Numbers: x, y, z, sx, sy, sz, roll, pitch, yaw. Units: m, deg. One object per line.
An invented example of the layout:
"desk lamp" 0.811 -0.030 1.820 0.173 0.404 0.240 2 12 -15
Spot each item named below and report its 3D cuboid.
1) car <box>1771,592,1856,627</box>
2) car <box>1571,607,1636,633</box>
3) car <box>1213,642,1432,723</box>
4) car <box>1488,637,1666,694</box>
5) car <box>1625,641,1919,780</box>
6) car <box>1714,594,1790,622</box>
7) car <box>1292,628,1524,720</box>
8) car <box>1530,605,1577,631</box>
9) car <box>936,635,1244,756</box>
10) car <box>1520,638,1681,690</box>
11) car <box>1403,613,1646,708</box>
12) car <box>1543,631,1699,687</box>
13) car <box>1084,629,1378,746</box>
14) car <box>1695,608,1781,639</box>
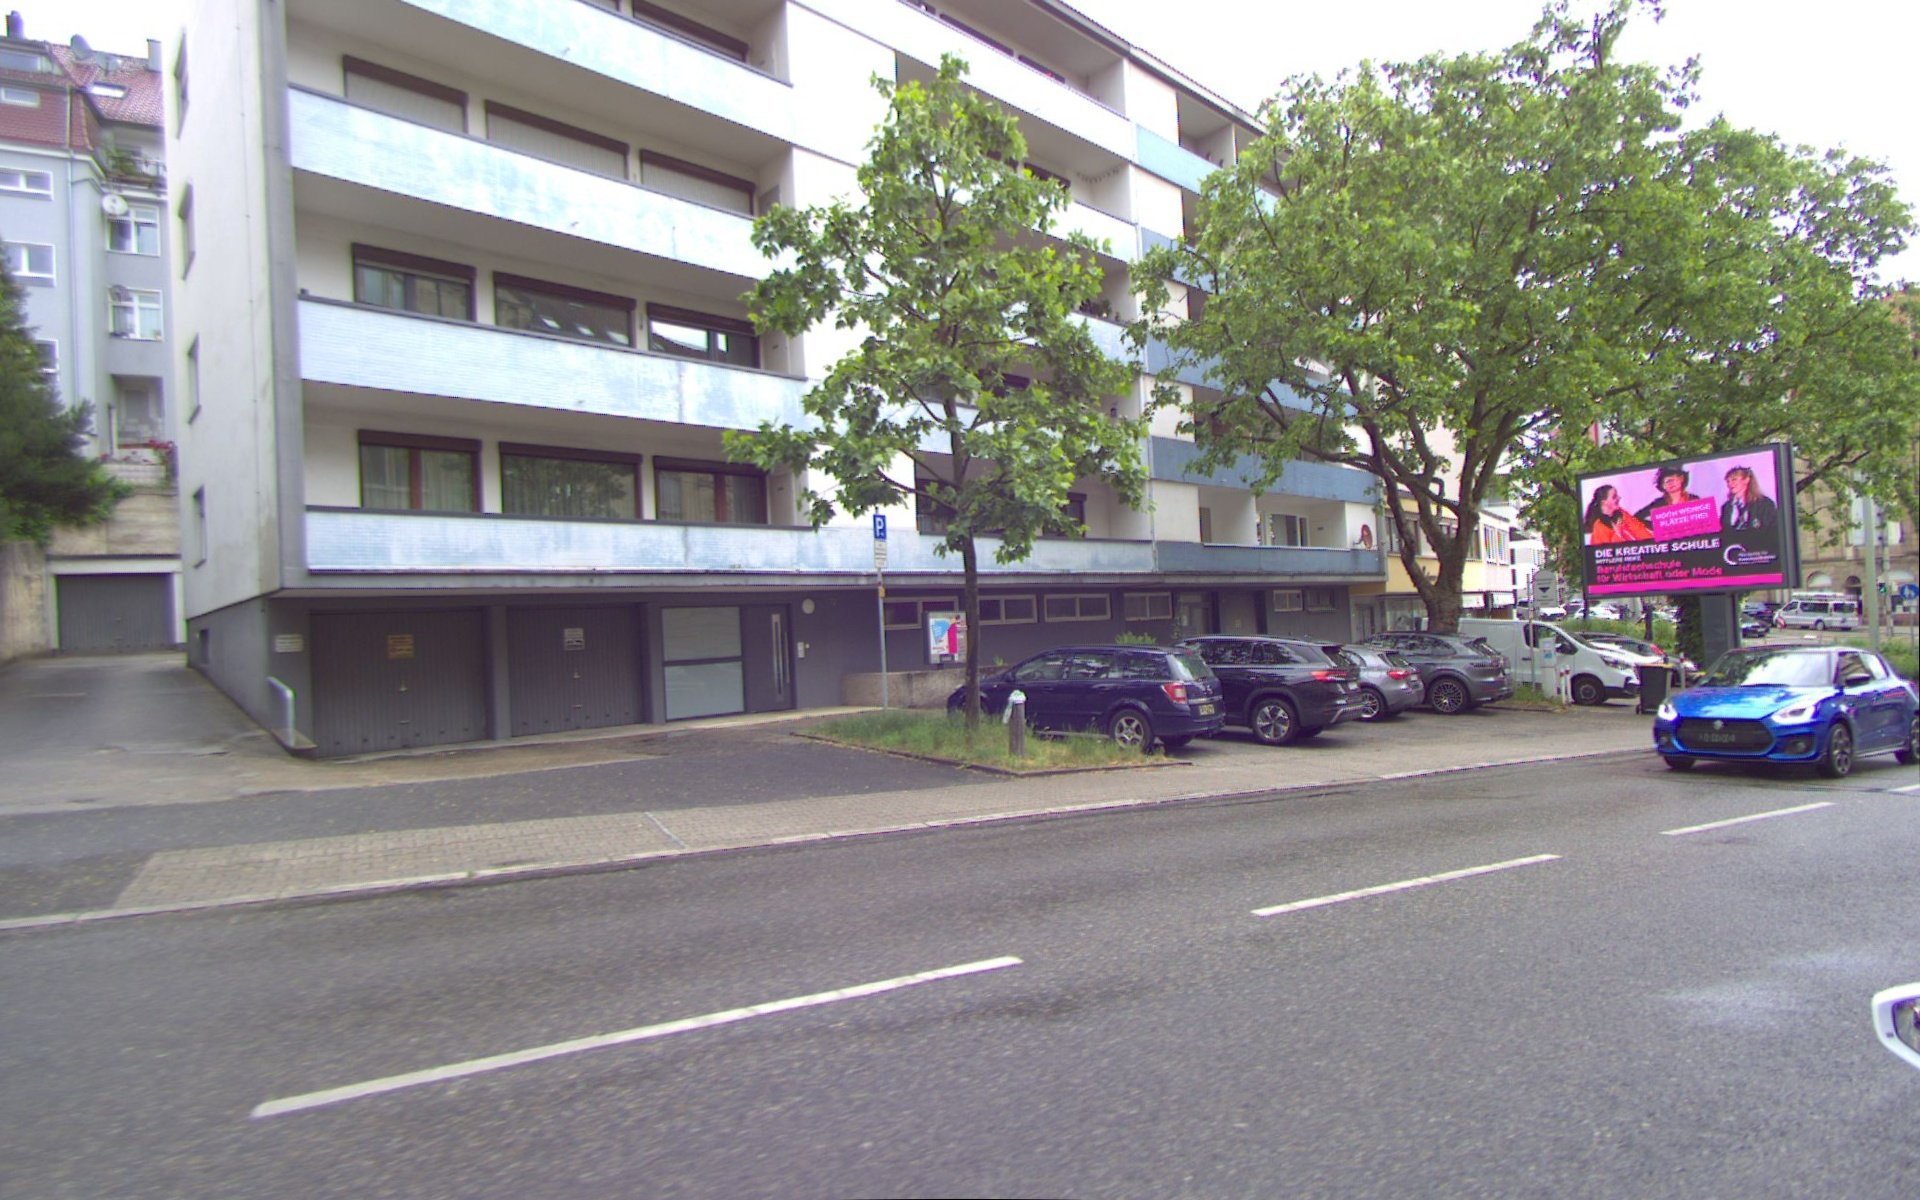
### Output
"car" 55.931 0.588 65.931 1.961 2.130 4.291 0 1 -1
"car" 47.067 1.439 73.593 1.961 1.749 4.250 -2 -1 0
"car" 7.296 1.595 20.373 3.870 1.449 1.742 -1 -2 36
"car" 17.548 1.813 28.673 4.122 1.475 1.786 -1 -2 40
"car" 10.108 1.295 12.371 3.699 1.469 1.707 1 -6 -31
"car" 55.942 0.518 71.030 1.961 1.863 4.291 0 1 -1
"car" 9.731 1.525 22.007 4.305 1.807 1.930 -1 -2 40
"car" 47.292 1.430 80.155 1.545 2.040 4.001 0 -1 2
"car" 1.888 1.374 15.350 4.303 1.595 1.935 -3 -3 39
"car" 19.445 1.903 30.571 3.926 1.469 1.761 -1 -2 40
"car" 13.935 1.429 24.973 5.001 2.133 1.983 -1 -2 40
"car" 21.260 1.854 32.354 4.072 1.675 1.762 -1 -2 38
"car" 4.377 1.373 16.585 4.312 1.694 1.847 -3 -3 39
"car" 47.089 1.404 60.919 1.960 1.749 4.250 -1 0 2
